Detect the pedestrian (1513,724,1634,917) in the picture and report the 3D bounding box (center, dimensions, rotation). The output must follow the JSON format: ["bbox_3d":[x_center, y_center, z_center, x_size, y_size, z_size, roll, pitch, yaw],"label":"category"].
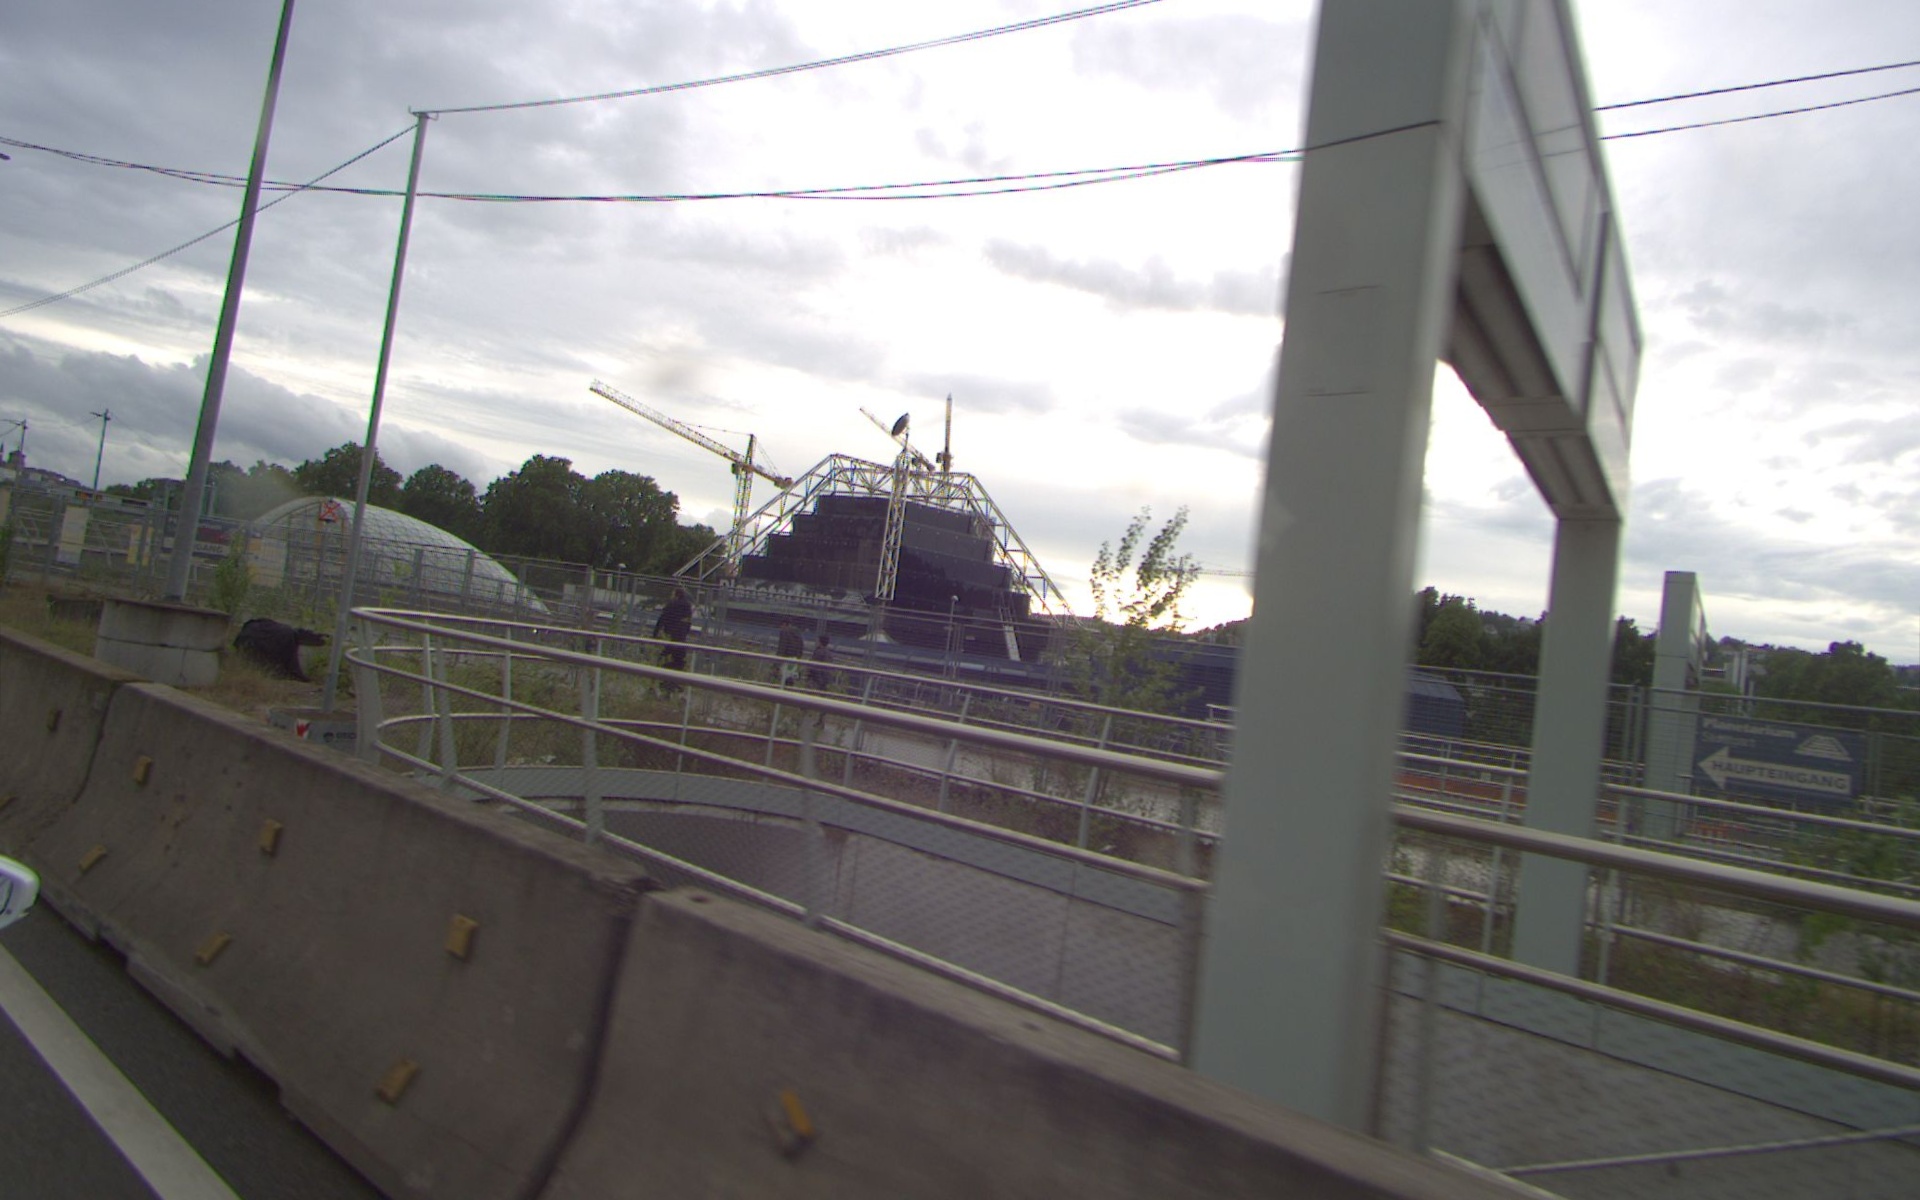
[{"bbox_3d":[6.381,2.250,10.469,0.805,1.799,0.688,5,-1,44],"label":"pedestrian"}]

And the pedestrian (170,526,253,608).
[{"bbox_3d":[-16.926,-0.733,22.777,0.882,1.677,1.024,6,-1,6],"label":"pedestrian"}]

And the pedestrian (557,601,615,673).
[{"bbox_3d":[-9.362,0.925,25.190,1.003,1.651,0.692,6,-1,3],"label":"pedestrian"}]

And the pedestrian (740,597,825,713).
[{"bbox_3d":[-2.985,0.925,16.928,1.005,1.799,0.691,6,-1,28],"label":"pedestrian"}]

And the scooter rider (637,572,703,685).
[{"bbox_3d":[-4.788,0.473,16.622,0.688,1.776,0.521,7,0,33],"label":"scooter rider"}]

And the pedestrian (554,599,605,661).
[{"bbox_3d":[-9.848,0.776,26.051,0.875,1.489,0.692,6,-1,3],"label":"pedestrian"}]

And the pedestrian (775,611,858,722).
[{"bbox_3d":[-2.503,1.164,17.578,1.006,1.799,0.727,6,-1,31],"label":"pedestrian"}]

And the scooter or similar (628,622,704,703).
[{"bbox_3d":[-4.863,1.026,16.620,1.078,1.194,0.491,7,-1,33],"label":"scooter or similar"}]
